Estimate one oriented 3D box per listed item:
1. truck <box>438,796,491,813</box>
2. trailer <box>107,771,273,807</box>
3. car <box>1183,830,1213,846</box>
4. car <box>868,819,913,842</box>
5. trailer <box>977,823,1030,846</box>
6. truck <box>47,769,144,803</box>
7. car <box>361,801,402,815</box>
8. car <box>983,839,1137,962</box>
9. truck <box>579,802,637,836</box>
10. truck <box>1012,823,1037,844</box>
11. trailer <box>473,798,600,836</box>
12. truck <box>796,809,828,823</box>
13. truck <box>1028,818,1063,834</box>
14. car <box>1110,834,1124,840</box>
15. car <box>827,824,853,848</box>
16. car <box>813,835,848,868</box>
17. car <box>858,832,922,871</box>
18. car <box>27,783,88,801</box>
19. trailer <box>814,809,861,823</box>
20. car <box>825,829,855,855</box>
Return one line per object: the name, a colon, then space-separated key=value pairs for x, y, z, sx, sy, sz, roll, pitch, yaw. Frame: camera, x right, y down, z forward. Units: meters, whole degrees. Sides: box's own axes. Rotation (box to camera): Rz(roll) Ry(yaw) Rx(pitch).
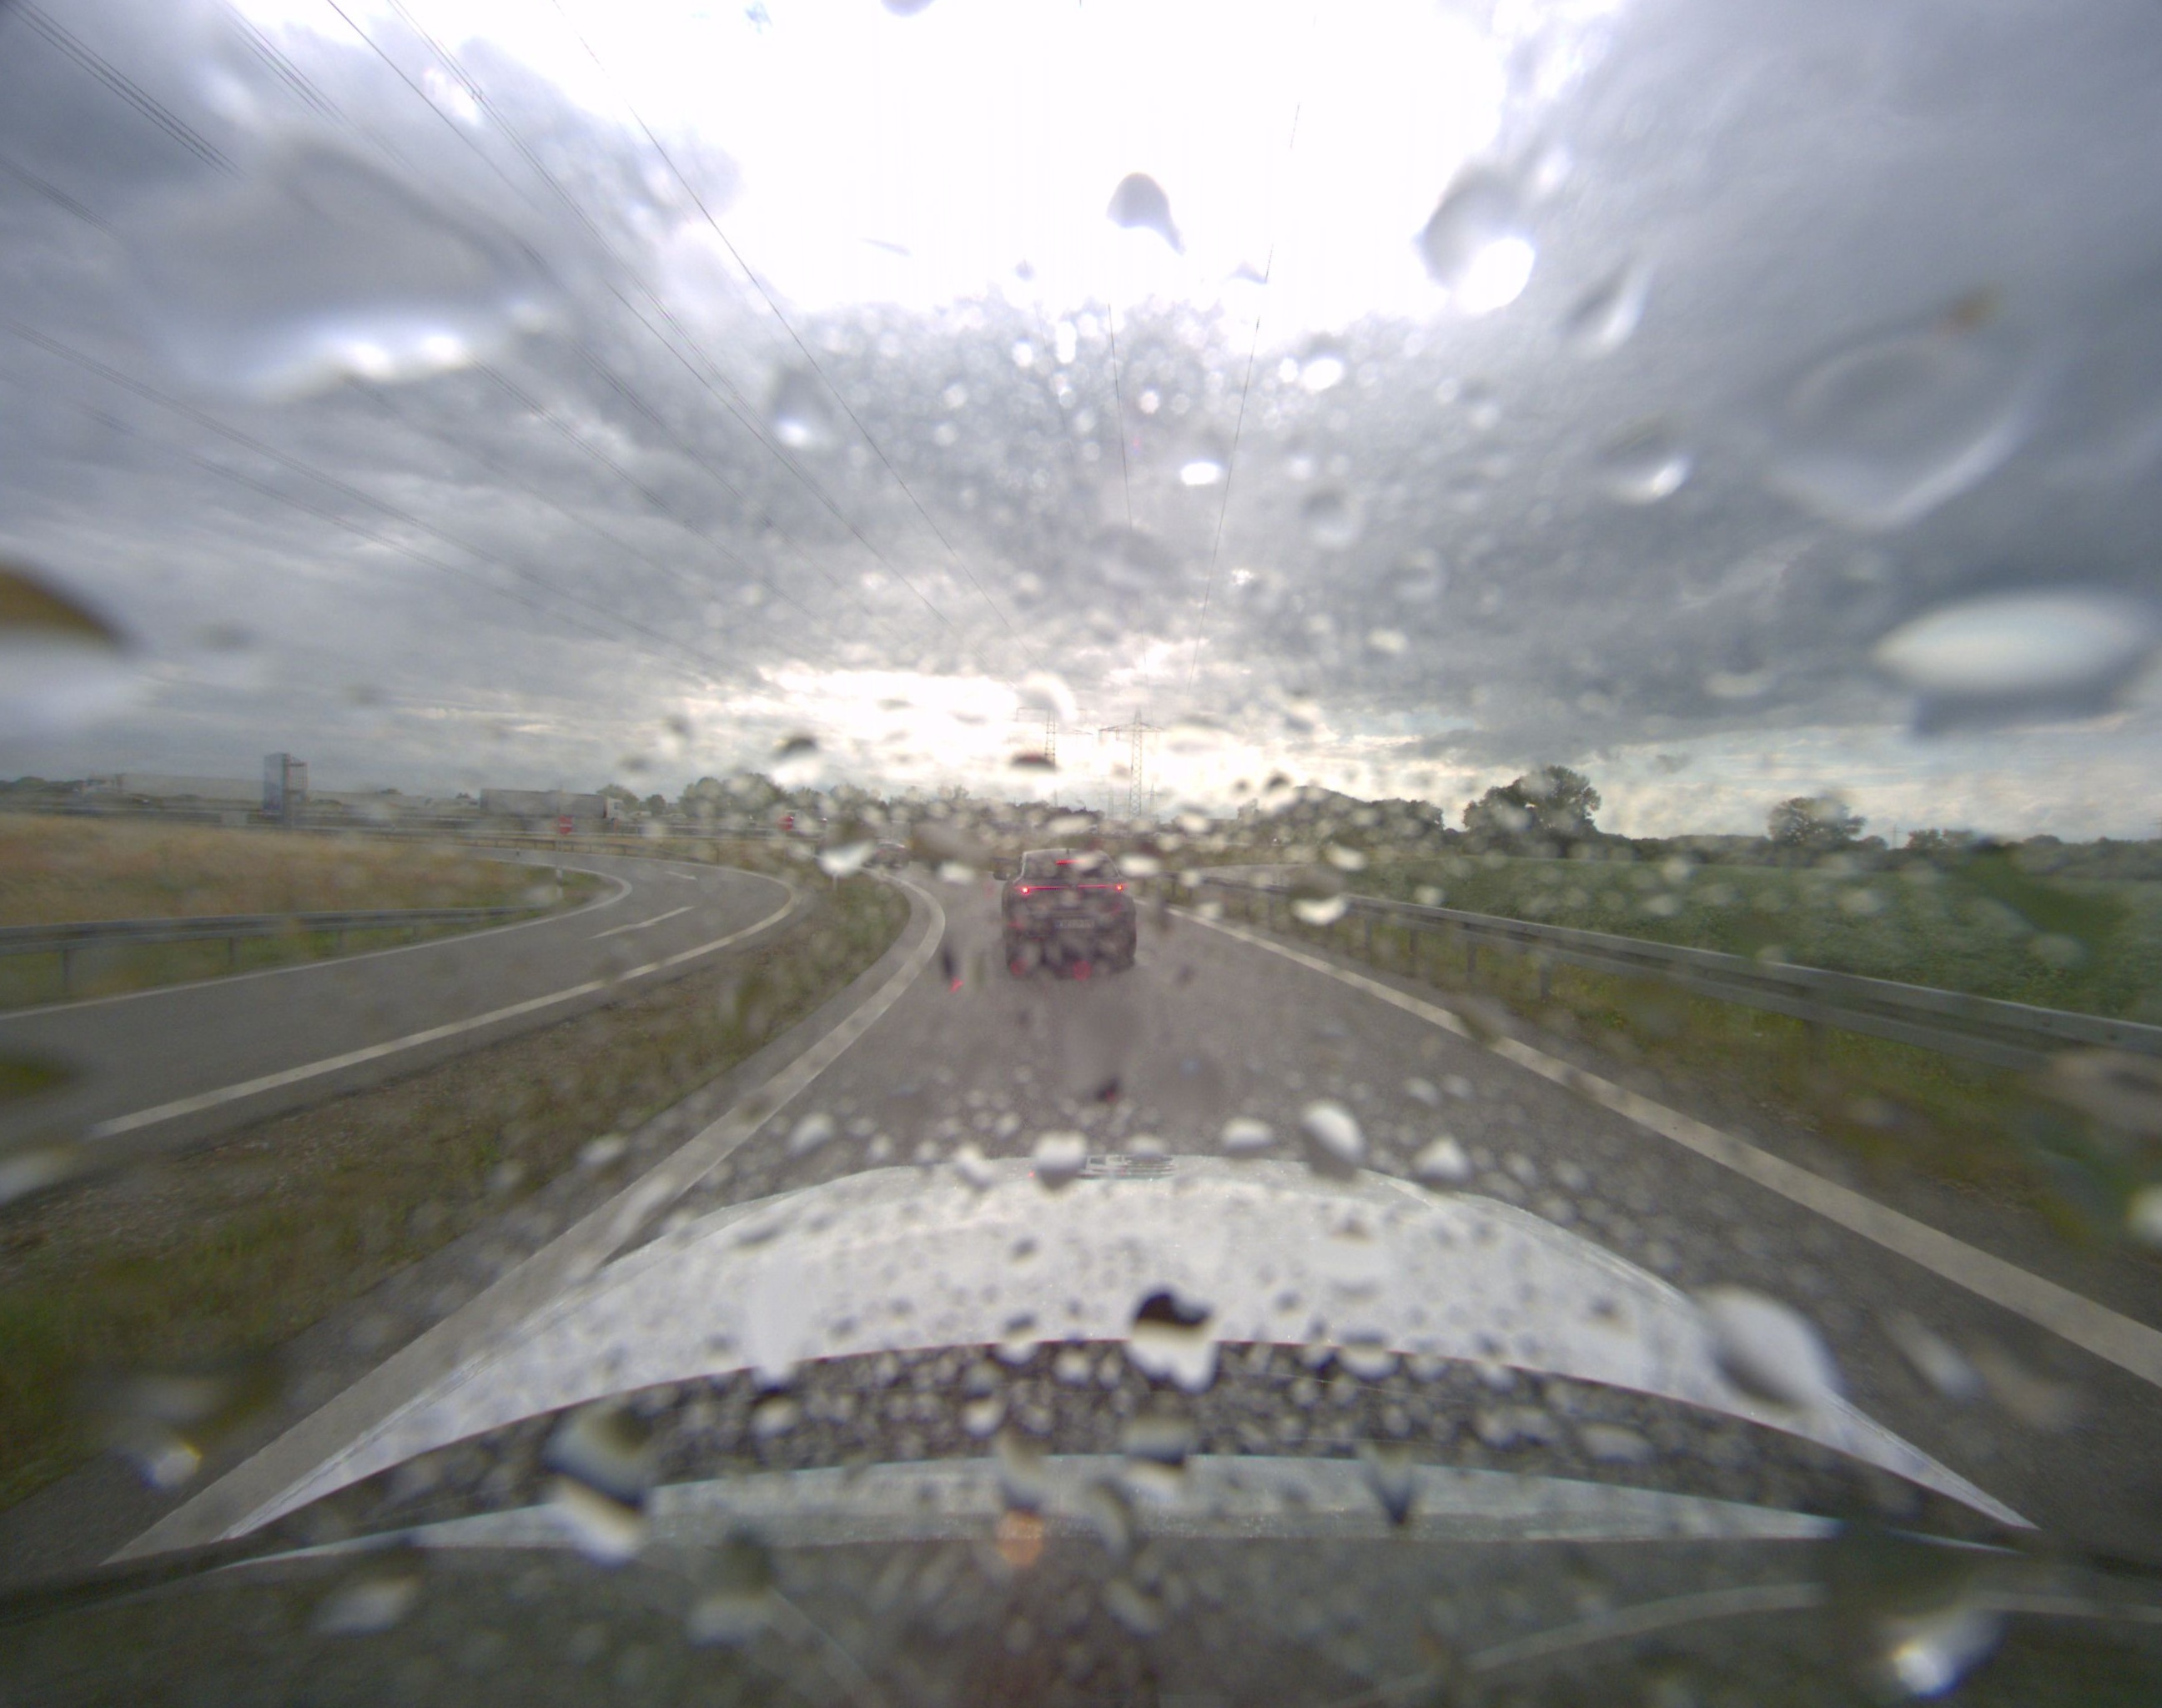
truck: x=-96.890 y=-7.720 z=128.025 sx=1.975 sy=2.499 sz=6.350 roll=4 pitch=4 yaw=38
trailer: x=-114.659 y=-8.279 z=105.207 sx=2.823 sy=3.670 sz=14.190 roll=4 pitch=2 yaw=38
car: x=29.572 y=-4.027 z=205.079 sx=3.351 sy=3.610 sz=9.102 roll=3 pitch=1 yaw=37
car: x=-26.261 y=-3.302 z=112.745 sx=3.115 sy=2.950 sz=7.235 roll=2 pitch=3 yaw=12
trailer: x=-16.752 y=-4.314 z=176.979 sx=3.019 sy=4.634 sz=13.388 roll=4 pitch=4 yaw=37
truck: x=-119.515 y=-8.201 z=98.876 sx=2.789 sy=3.540 sz=7.426 roll=4 pitch=2 yaw=38
car: x=-97.415 y=-6.463 z=113.432 sx=1.869 sy=1.848 sz=4.025 roll=4 pitch=4 yaw=40
car: x=-0.369 y=0.570 z=12.723 sx=1.989 sy=1.566 sz=4.145 roll=-1 pitch=1 yaw=-3
truck: x=-66.026 y=-4.952 z=113.838 sx=3.309 sy=4.564 sz=6.308 roll=4 pitch=4 yaw=40
truck: x=-12.616 y=-4.559 z=182.331 sx=3.039 sy=4.478 sz=5.105 roll=4 pitch=4 yaw=36
trailer: x=-71.449 y=-4.812 z=107.373 sx=3.440 sy=4.615 sz=13.477 roll=4 pitch=4 yaw=40
truck: x=-58.242 y=-8.242 z=176.557 sx=2.290 sy=3.025 sz=6.510 roll=4 pitch=4 yaw=37
truck: x=-9.884 y=-7.968 z=231.064 sx=1.975 sy=4.123 sz=12.576 roll=3 pitch=1 yaw=39
car: x=9.731 y=-4.611 z=222.606 sx=1.975 sy=1.603 sz=4.026 roll=3 pitch=4 yaw=34
car: x=-26.237 y=-1.984 z=88.817 sx=2.354 sy=2.306 sz=5.107 roll=1 pitch=3 yaw=-13
car: x=-19.632 y=-0.241 z=63.965 sx=2.355 sy=2.306 sz=5.105 roll=1 pitch=3 yaw=-15
car: x=-10.729 y=-0.193 z=45.416 sx=2.133 sy=2.018 sz=5.485 roll=1 pitch=1 yaw=-28
car: x=-111.221 y=-6.731 z=88.568 sx=1.869 sy=1.848 sz=4.025 roll=4 pitch=4 yaw=40
trailer: x=-54.266 y=-8.432 z=181.909 sx=2.290 sy=3.025 sz=10.552 roll=4 pitch=4 yaw=37
car: x=-23.616 y=-1.208 z=79.632 sx=2.360 sy=2.306 sz=5.093 roll=0 pitch=3 yaw=-22
